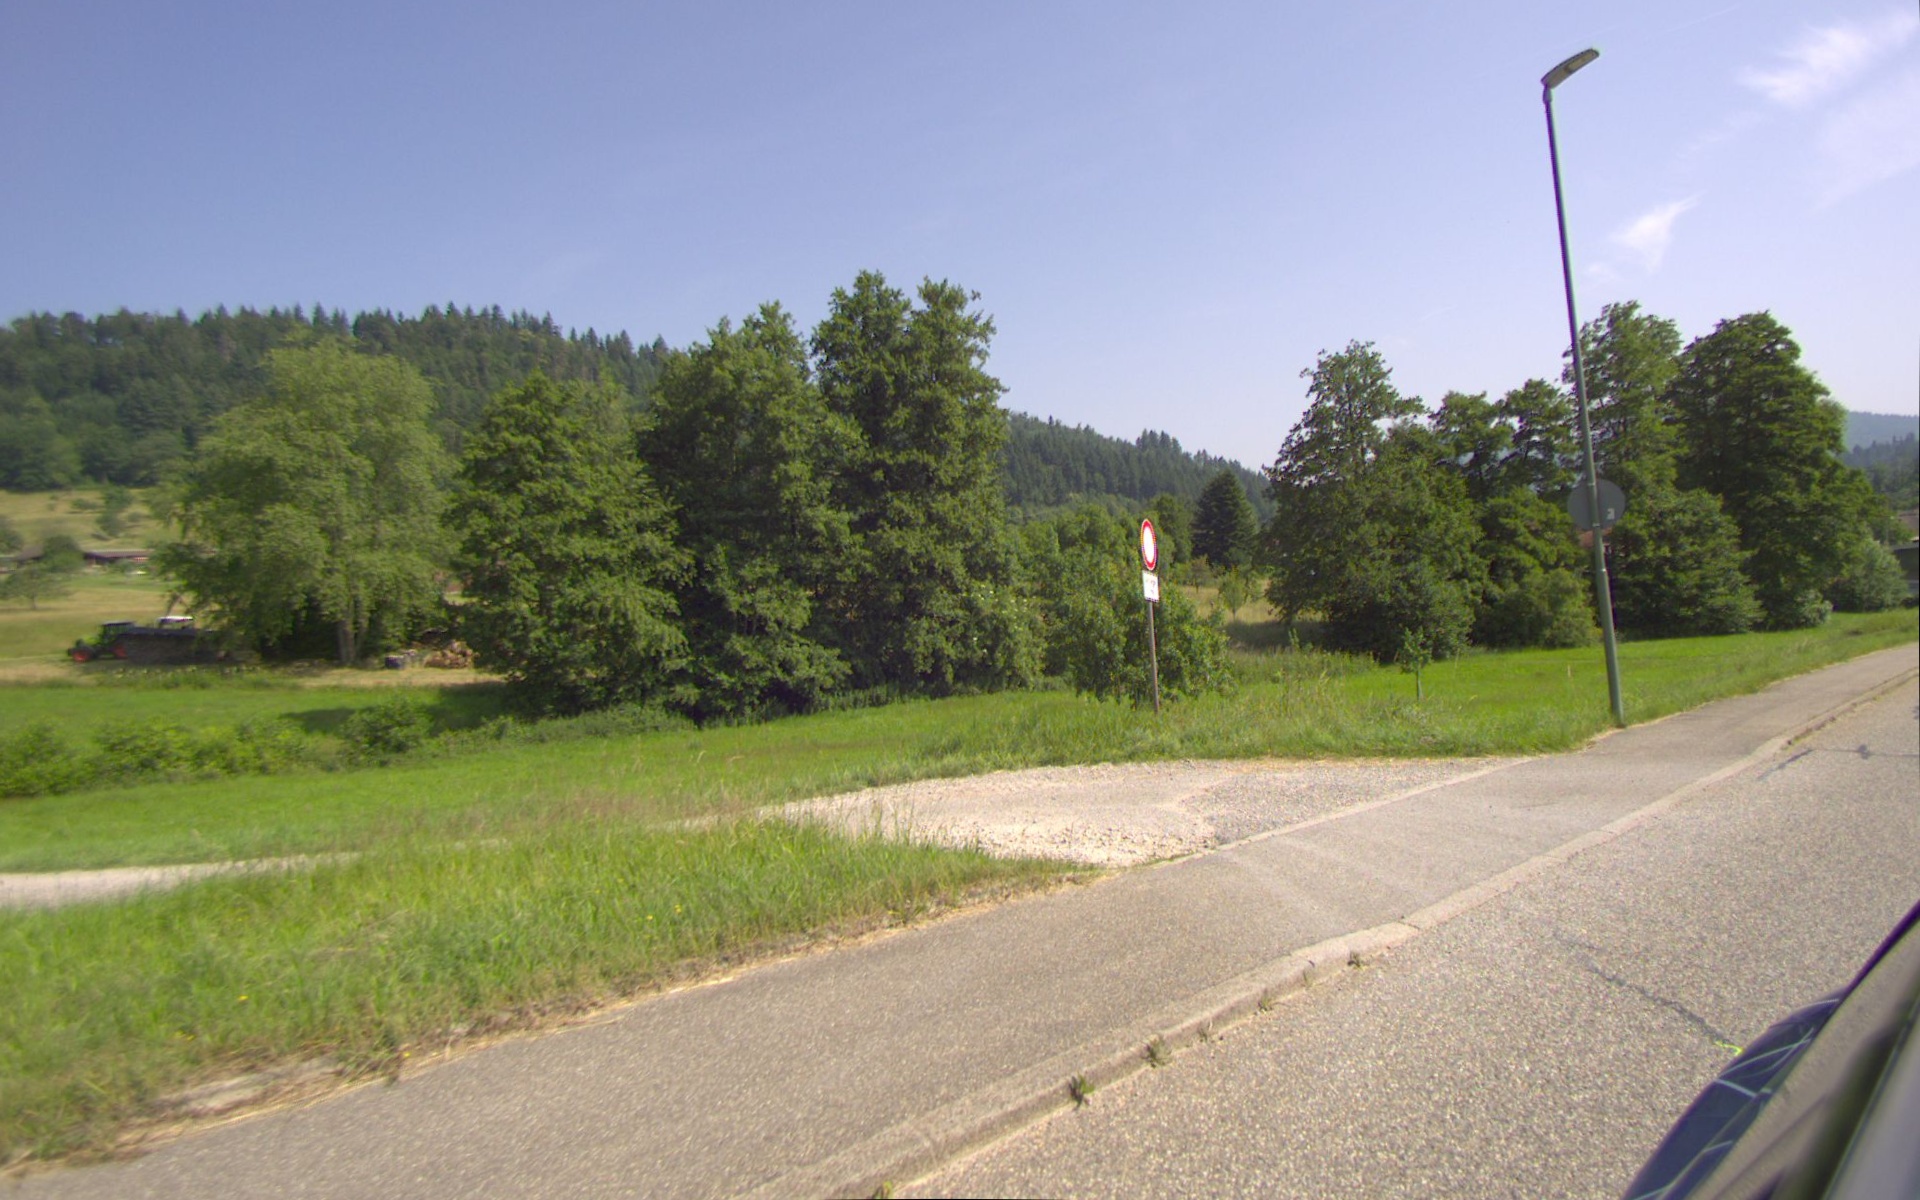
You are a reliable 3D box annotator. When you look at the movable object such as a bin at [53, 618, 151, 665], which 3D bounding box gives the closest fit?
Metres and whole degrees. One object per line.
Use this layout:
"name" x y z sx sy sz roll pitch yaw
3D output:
"movable object such as a bin" -53.243 2.509 62.897 4.460 2.631 1.999 -2 1 -37
